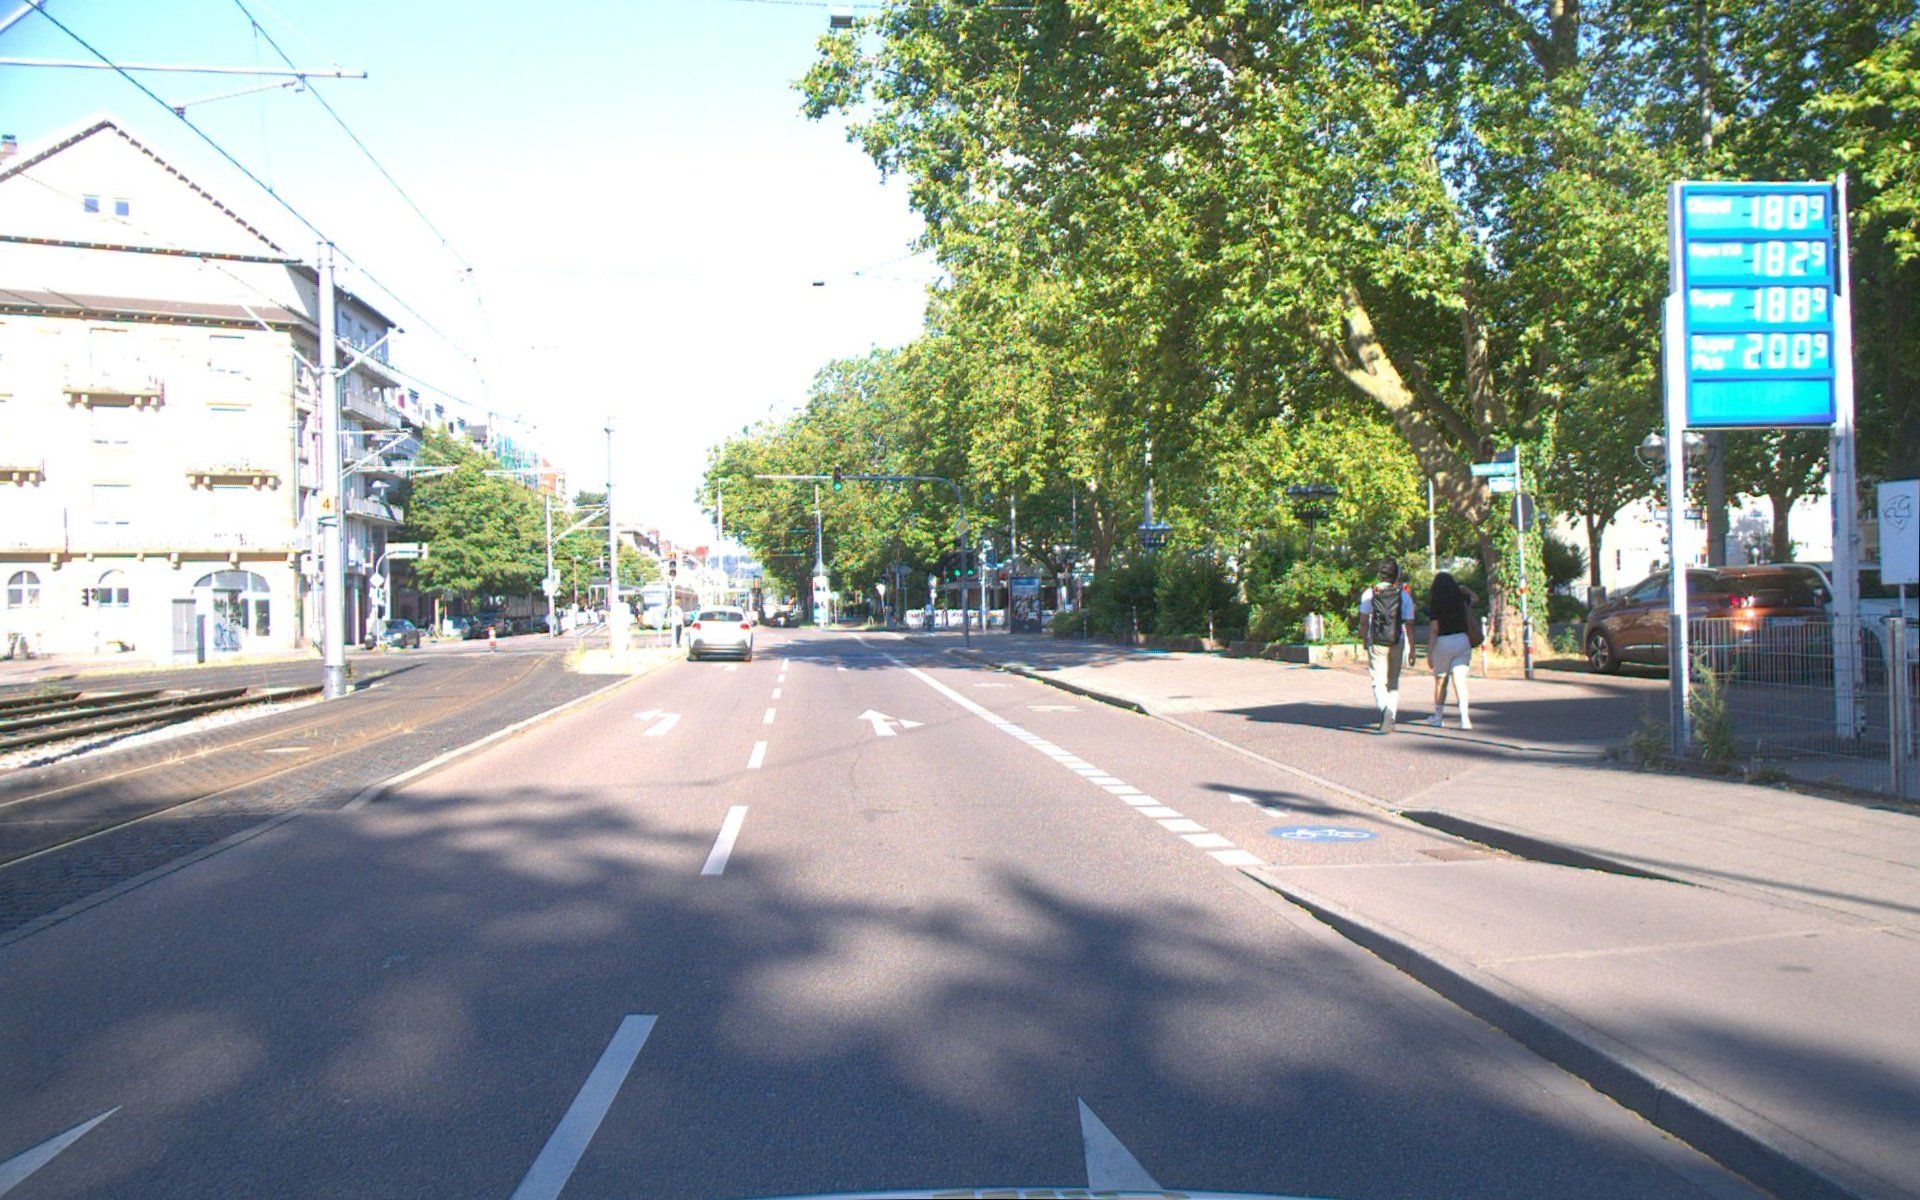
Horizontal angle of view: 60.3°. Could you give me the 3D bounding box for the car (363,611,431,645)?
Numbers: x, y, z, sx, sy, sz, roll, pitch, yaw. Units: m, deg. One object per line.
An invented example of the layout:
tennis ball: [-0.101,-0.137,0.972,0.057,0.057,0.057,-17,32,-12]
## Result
car: [-27.104,1.316,79.758,1.955,1.474,4.835,-2,0,-5]

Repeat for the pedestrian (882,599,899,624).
pedestrian: [-3.993,0.673,95.166,0.646,1.412,0.831,1,0,26]

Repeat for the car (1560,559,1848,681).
car: [11.156,0.233,25.216,1.783,1.630,4.653,-2,1,-8]

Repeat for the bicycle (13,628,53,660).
bicycle: [-39.598,1.863,70.658,0.807,1.305,2.555,1,0,-14]

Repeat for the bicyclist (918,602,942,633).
bicyclist: [-1.671,0.976,91.674,1.177,1.726,0.901,1,0,-11]

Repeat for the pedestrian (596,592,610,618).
pedestrian: [-25.661,0.370,118.864,0.945,1.865,0.987,1,0,-12]

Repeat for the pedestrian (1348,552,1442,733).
pedestrian: [4.571,0.438,17.433,0.591,1.807,0.878,-5,0,-2]

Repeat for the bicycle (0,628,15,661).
bicycle: [-40.419,1.849,69.630,0.811,1.305,2.545,1,0,-24]

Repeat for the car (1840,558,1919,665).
car: [15.460,0.160,25.074,1.824,1.597,3.995,-2,1,-6]

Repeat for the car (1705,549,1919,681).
car: [13.308,0.142,24.700,1.824,1.765,4.793,-2,1,-6]

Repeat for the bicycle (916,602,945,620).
bicycle: [-1.647,0.579,91.639,1.178,0.951,2.566,1,0,-12]

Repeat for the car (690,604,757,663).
car: [-6.471,0.897,45.503,1.712,1.487,3.639,1,0,-7]

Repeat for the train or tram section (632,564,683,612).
train or tram section: [-23.309,-0.912,127.823,2.895,3.470,10.778,1,0,-5]

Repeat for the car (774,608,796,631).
car: [-16.576,1.814,156.629,1.955,2.049,3.995,1,0,-5]

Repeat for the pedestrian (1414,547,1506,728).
pedestrian: [5.203,0.382,17.247,0.591,1.807,0.690,-5,0,-2]
